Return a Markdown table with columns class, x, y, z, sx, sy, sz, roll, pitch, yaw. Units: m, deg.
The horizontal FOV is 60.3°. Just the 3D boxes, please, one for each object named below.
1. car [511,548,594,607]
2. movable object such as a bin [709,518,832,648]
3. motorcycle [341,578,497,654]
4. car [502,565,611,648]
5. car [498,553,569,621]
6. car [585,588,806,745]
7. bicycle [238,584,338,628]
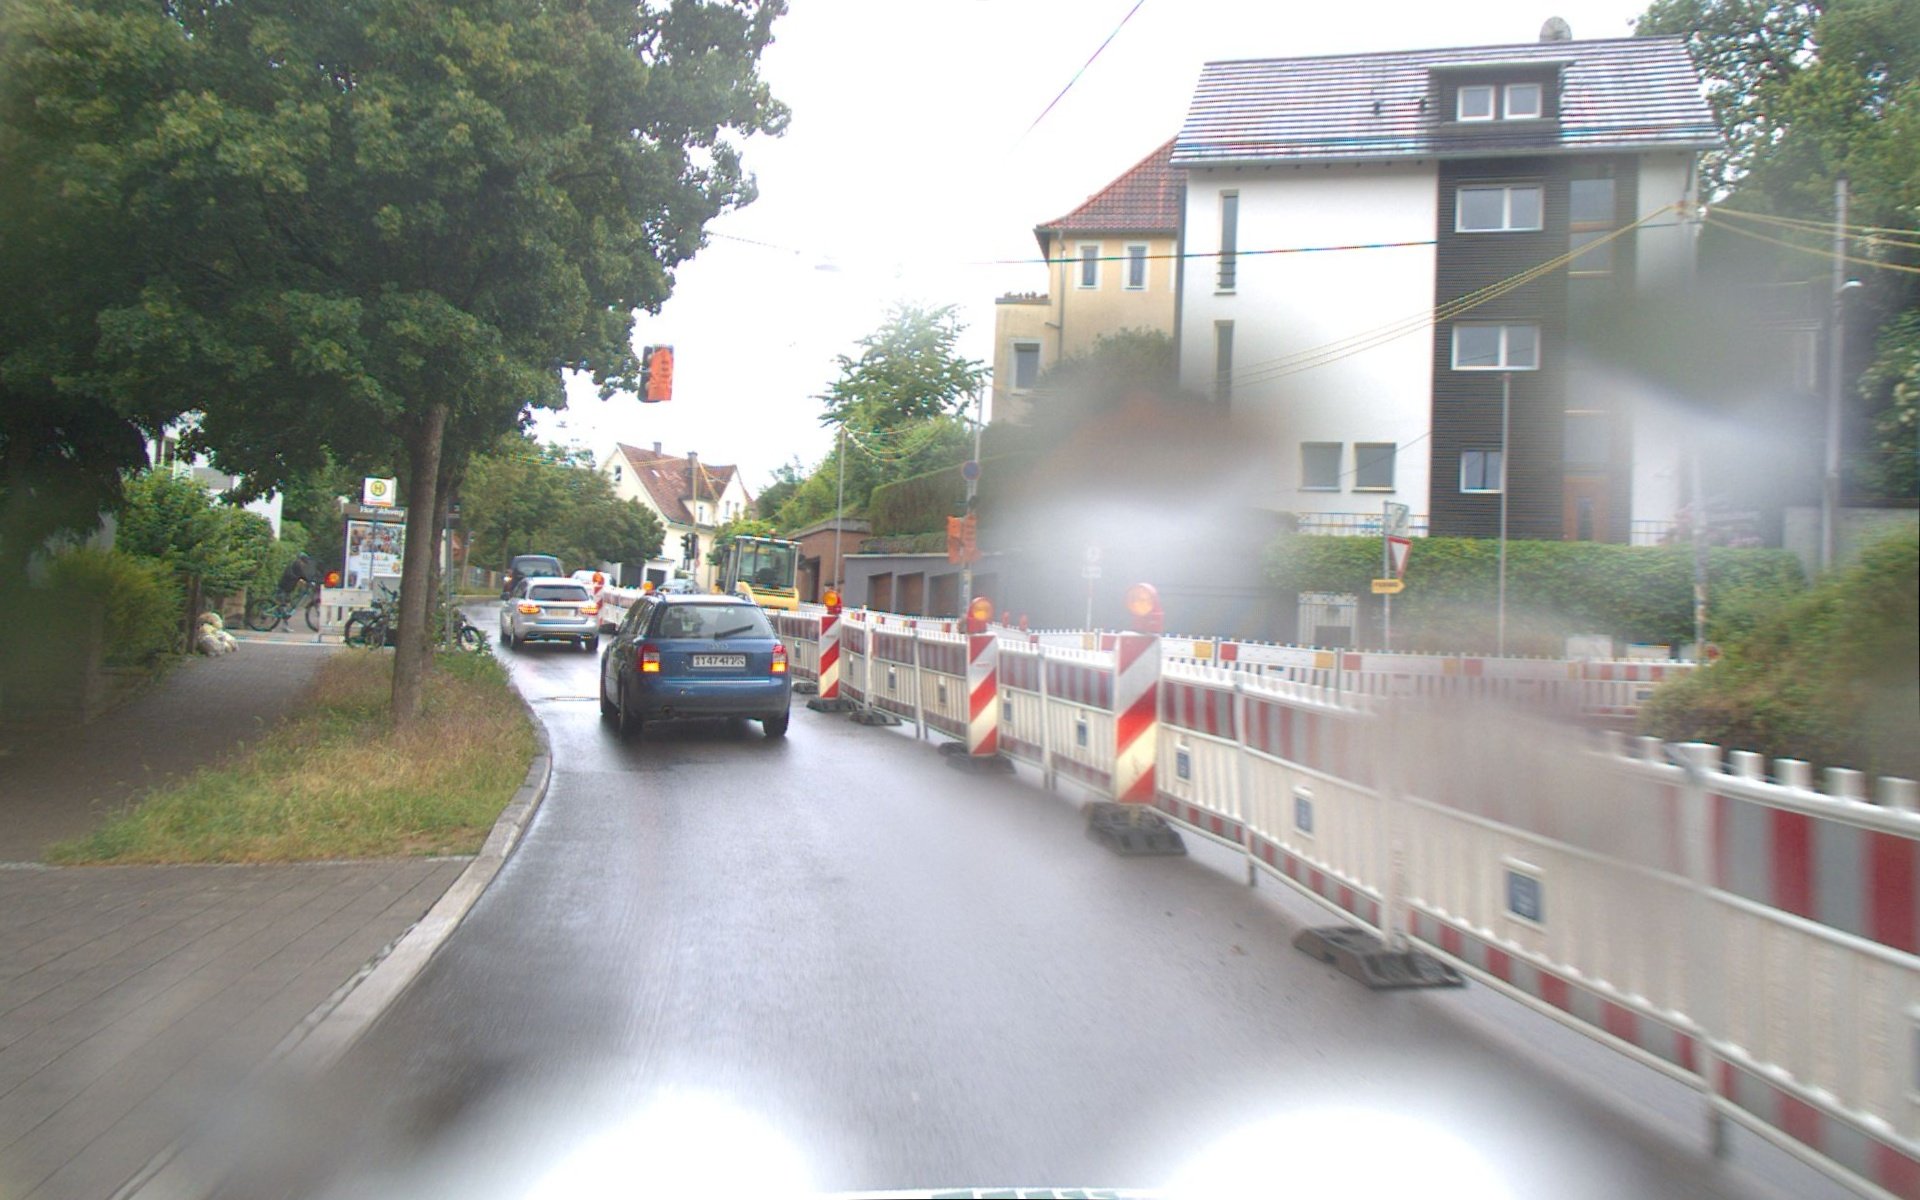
| class | x | y | z | sx | sy | sz | roll | pitch | yaw |
| --- | --- | --- | --- | --- | --- | --- | --- | --- | --- |
| car | -14.668 | -0.775 | 59.415 | 1.972 | 2.049 | 3.961 | 0 | -1 | -29 |
| movable object such as a bin | -4.183 | -0.432 | 35.969 | 1.962 | 2.659 | 3.981 | 0 | 2 | -17 |
| motorcycle | -9.603 | 0.295 | 29.422 | 2.558 | 1.255 | 0.885 | 2 | -1 | -18 |
| car | -8.663 | 0.144 | 35.254 | 1.897 | 1.646 | 4.296 | 0 | -1 | -19 |
| car | -12.833 | -0.363 | 49.634 | 1.961 | 1.825 | 3.982 | -1 | -2 | -16 |
| car | -2.957 | 0.616 | 17.834 | 1.758 | 1.467 | 3.943 | 0 | 1 | -18 |
| bicycle | -15.589 | 0.134 | 38.409 | 2.115 | 1.020 | 0.632 | 0 | -1 | -21 |
